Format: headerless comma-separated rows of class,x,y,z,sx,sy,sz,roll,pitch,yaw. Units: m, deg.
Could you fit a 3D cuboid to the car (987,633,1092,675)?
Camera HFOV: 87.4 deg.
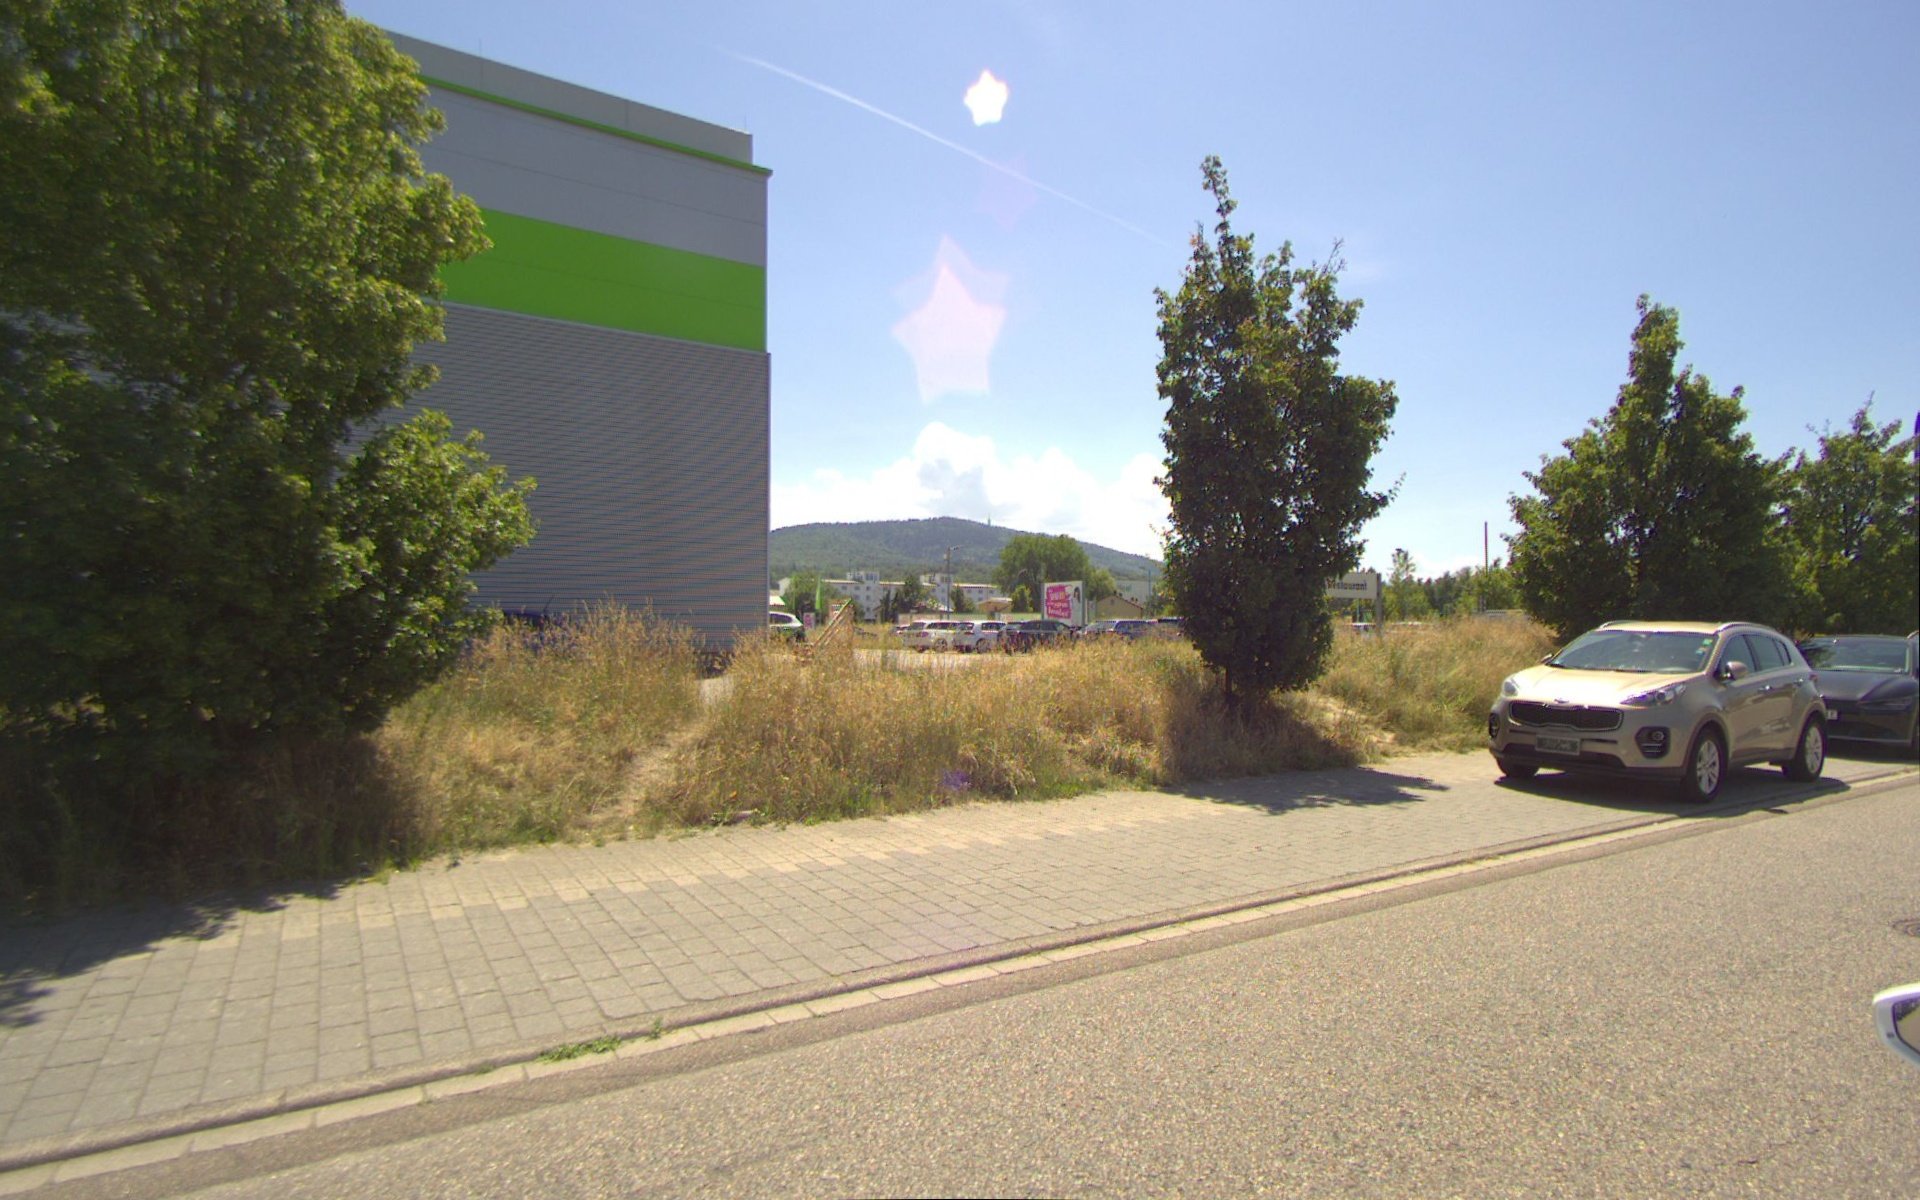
car,3.246,2.139,40.735,3.960,1.565,1.980,1,-1,-35

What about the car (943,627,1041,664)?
car,1.454,2.010,44.976,3.950,1.565,1.986,1,-1,-28

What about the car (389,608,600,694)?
car,-8.178,0.852,17.705,3.203,1.370,1.423,1,0,-33

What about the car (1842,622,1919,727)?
car,17.336,1.245,17.384,4.704,1.677,1.902,1,-3,-33

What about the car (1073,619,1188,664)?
car,6.313,1.495,37.072,3.960,1.565,1.981,1,-1,-35

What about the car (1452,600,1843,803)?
car,7.329,0.900,10.588,4.366,1.736,1.901,1,0,-33

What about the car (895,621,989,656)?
car,-0.827,1.769,46.818,3.959,1.565,1.981,1,-1,-34

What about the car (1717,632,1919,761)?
car,12.739,1.240,14.336,4.370,1.511,1.899,1,0,-36

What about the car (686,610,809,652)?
car,-7.727,1.116,36.614,3.959,1.431,1.981,1,-1,-34
